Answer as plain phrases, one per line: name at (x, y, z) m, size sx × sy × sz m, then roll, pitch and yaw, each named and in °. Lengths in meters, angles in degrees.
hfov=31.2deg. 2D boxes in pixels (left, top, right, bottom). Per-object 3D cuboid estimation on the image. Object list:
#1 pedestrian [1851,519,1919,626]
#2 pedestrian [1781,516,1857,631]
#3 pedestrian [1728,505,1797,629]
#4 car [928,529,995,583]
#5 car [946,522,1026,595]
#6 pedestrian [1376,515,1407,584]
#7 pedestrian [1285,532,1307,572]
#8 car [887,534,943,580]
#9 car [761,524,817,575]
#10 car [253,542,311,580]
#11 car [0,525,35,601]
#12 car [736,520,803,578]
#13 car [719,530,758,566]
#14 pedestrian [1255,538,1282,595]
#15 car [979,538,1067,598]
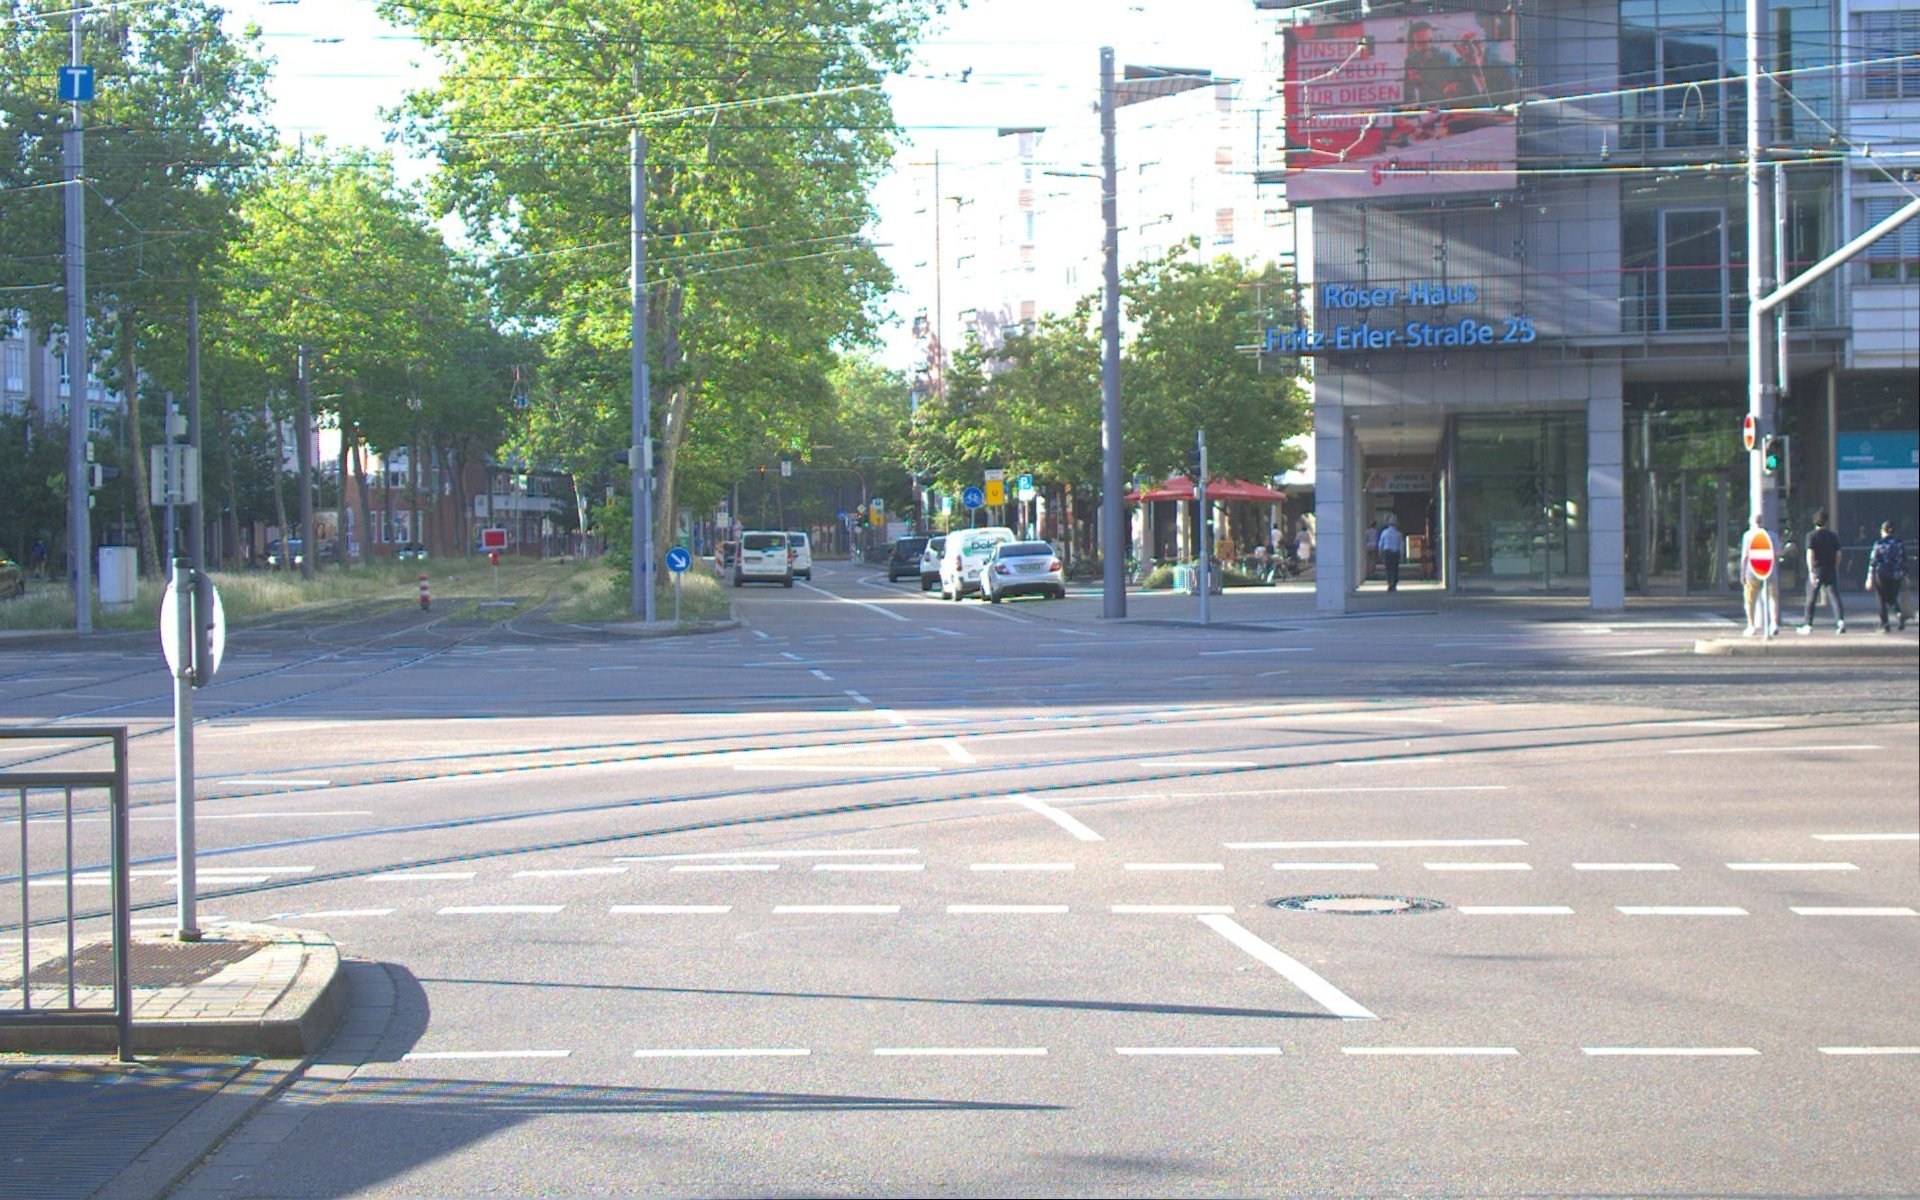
pedestrian at (13.754, -0.418, 50.876) m, size 0.948 × 1.558 × 0.897 m, roll -1°, pitch 1°, yaw 5°
pedestrian at (12.797, -0.397, 51.239) m, size 0.912 × 1.679 × 1.035 m, roll -1°, pitch 1°, yaw 4°
pedestrian at (11.730, -0.482, 50.296) m, size 0.864 × 1.782 × 0.871 m, roll -1°, pitch 1°, yaw 6°
car at (0.037, -1.359, 105.219) m, size 1.993 × 1.612 × 4.000 m, roll -1°, pitch 1°, yaw 0°
car at (0.648, -1.096, 89.573) m, size 1.993 × 1.853 × 4.000 m, roll -1°, pitch 1°, yaw -1°
pedestrian at (9.485, -1.119, 75.542) m, size 0.612 × 1.502 × 0.578 m, roll -1°, pitch 1°, yaw 11°
pedestrian at (10.748, -1.538, 110.001) m, size 0.577 × 1.284 × 0.910 m, roll -1°, pitch 1°, yaw -1°
car at (-1.640, -1.598, 126.669) m, size 1.993 × 1.612 × 4.000 m, roll -1°, pitch 1°, yaw 0°
car at (-6.580, -1.946, 132.708) m, size 1.993 × 1.905 × 4.000 m, roll -1°, pitch 1°, yaw -1°
car at (-32.844, -1.906, 166.596) m, size 1.993 × 1.809 × 4.000 m, roll -1°, pitch 1°, yaw -1°
car at (-21.666, -0.799, 74.928) m, size 1.993 × 1.634 × 4.000 m, roll -1°, pitch 1°, yaw -1°
car at (-6.269, -1.691, 113.611) m, size 1.961 × 1.842 × 5.330 m, roll -1°, pitch 1°, yaw 0°
car at (-12.547, -2.949, 195.108) m, size 1.993 × 2.007 × 4.000 m, roll -1°, pitch 1°, yaw -1°
pedestrian at (9.437, -1.024, 105.042) m, size 0.744 × 1.708 × 0.612 m, roll -1°, pitch 1°, yaw -1°
car at (1.492, -0.786, 82.778) m, size 1.993 × 1.371 × 4.000 m, roll -1°, pitch 1°, yaw -1°
